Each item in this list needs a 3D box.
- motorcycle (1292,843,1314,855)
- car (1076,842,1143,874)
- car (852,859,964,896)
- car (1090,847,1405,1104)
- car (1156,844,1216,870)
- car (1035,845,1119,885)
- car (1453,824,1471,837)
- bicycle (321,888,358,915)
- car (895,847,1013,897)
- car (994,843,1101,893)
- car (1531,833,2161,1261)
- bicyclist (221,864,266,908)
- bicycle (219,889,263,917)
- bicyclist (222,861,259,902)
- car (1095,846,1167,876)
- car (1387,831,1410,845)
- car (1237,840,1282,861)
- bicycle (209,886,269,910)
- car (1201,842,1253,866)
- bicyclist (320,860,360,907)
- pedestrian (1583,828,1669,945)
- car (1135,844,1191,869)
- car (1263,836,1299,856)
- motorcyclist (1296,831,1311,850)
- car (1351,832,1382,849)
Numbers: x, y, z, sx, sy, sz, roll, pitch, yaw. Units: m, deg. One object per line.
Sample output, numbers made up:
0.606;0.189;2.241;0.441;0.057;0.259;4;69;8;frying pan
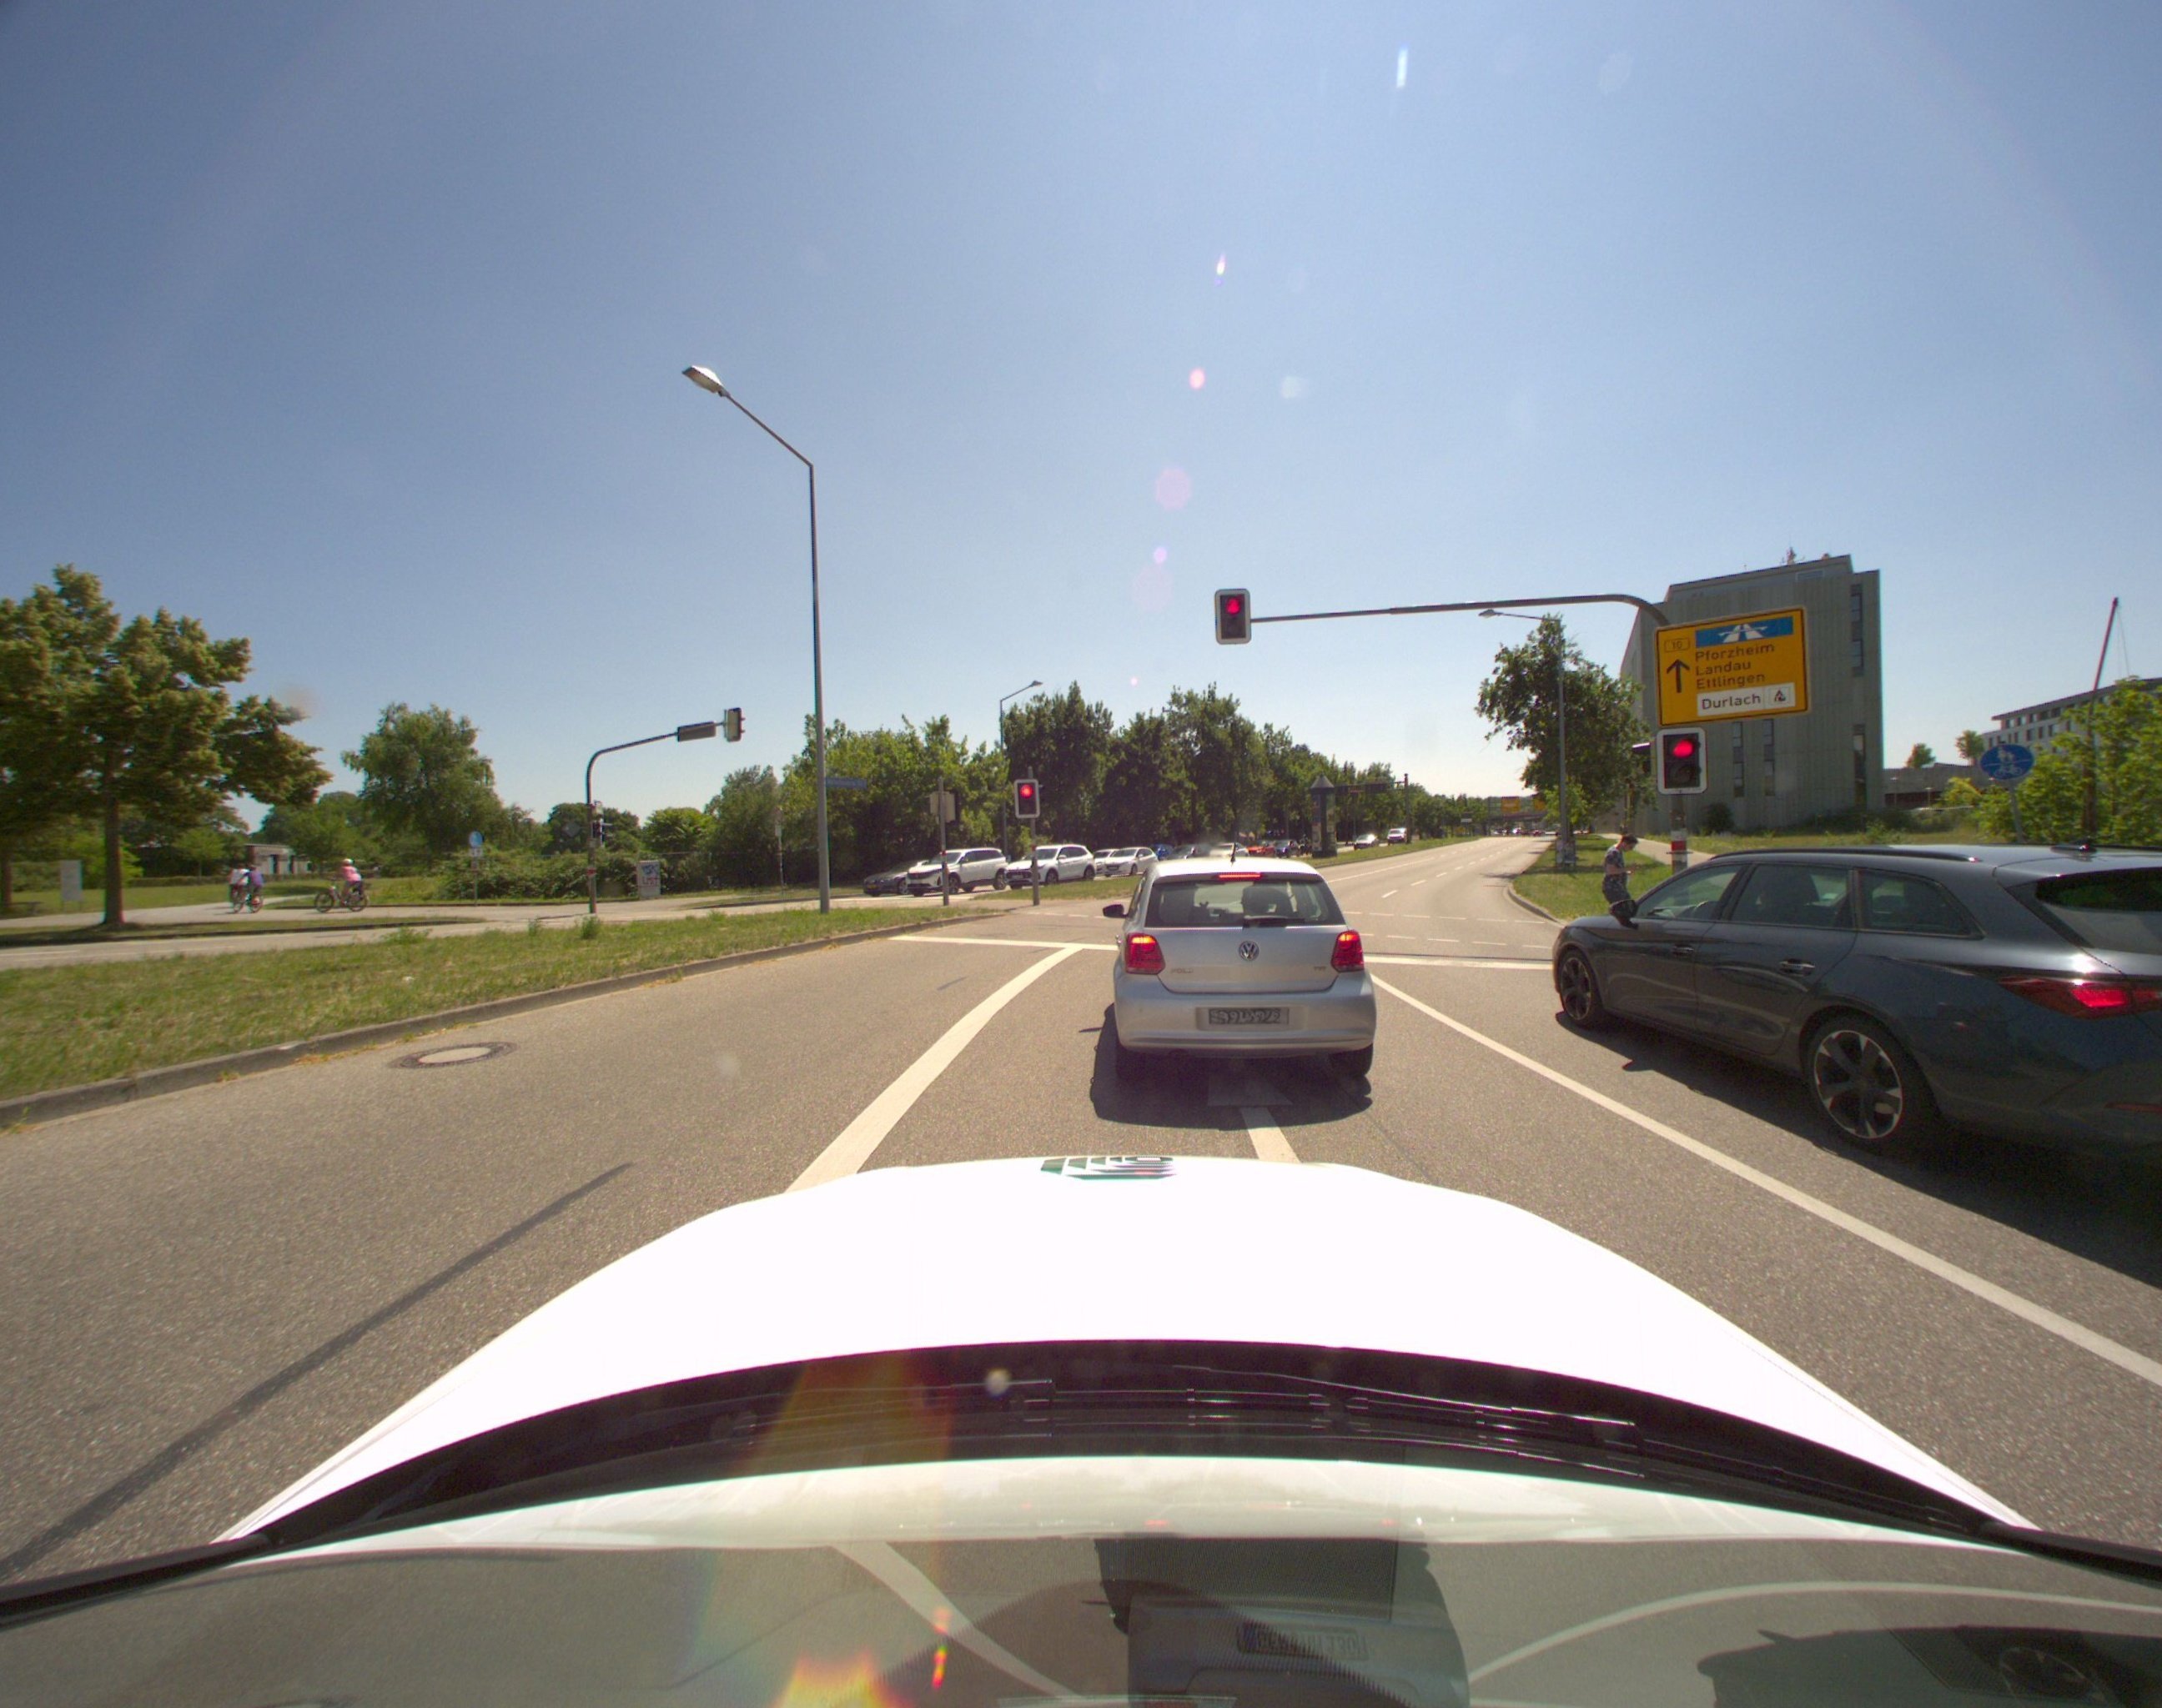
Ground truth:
18.961;-0.425;69.480;0.886;0.952;2.834;-3;-1;34;motorcycle
1.712;0.221;46.911;1.840;1.683;4.436;-2;1;32;car
-6.919;0.924;32.973;1.840;1.270;4.436;-2;1;32;car
1.128;0.696;6.722;1.768;1.422;4.006;-2;1;5;car
6.305;0.148;48.543;1.840;1.422;4.436;-2;1;32;car
-0.109;0.466;38.339;1.840;1.683;4.436;-2;1;32;car
54.733;-3.352;116.913;1.783;1.692;4.168;-3;-1;32;car
-26.455;1.668;29.053;0.904;0.900;2.198;-1;-1;-44;bicycle
-4.628;0.617;30.375;1.840;1.618;4.436;-2;1;32;car
-1.194;0.480;31.041;1.840;1.683;4.436;-2;1;32;car
4.682;0.618;4.898;1.982;1.418;4.466;-2;1;8;car
-30.450;1.148;29.618;0.965;1.531;1.172;-2;1;-39;bicyclist
-30.583;1.765;29.671;0.903;0.900;1.742;0;1;-39;bicycle
-34.369;1.106;33.308;0.758;1.614;0.969;-2;-1;-29;bicyclist
2.699;0.352;42.981;1.840;1.422;4.436;-2;1;32;car
36.423;-1.860;93.437;1.845;1.554;4.025;-1;1;30;car
13.346;-0.311;60.598;1.840;1.422;4.436;-2;1;32;car
-34.297;1.773;33.224;0.742;0.912;2.903;-2;-1;-27;bicycle
9.791;-0.005;54.407;1.840;1.422;4.436;-2;1;32;car
-26.412;1.045;29.034;0.965;1.610;1.171;-2;-1;-45;bicyclist
7.962;0.465;11.936;0.944;1.637;0.762;-3;-1;32;pedestrian
5.413;0.139;53.078;1.840;1.422;4.436;-2;1;32;car
15.898;-0.649;64.648;1.699;1.475;3.821;-3;-1;31;car
19.006;-1.138;69.615;0.897;1.586;1.017;-3;-1;34;motorcyclist
27.143;-1.263;77.417;1.951;1.488;4.026;-1;1;31;car
